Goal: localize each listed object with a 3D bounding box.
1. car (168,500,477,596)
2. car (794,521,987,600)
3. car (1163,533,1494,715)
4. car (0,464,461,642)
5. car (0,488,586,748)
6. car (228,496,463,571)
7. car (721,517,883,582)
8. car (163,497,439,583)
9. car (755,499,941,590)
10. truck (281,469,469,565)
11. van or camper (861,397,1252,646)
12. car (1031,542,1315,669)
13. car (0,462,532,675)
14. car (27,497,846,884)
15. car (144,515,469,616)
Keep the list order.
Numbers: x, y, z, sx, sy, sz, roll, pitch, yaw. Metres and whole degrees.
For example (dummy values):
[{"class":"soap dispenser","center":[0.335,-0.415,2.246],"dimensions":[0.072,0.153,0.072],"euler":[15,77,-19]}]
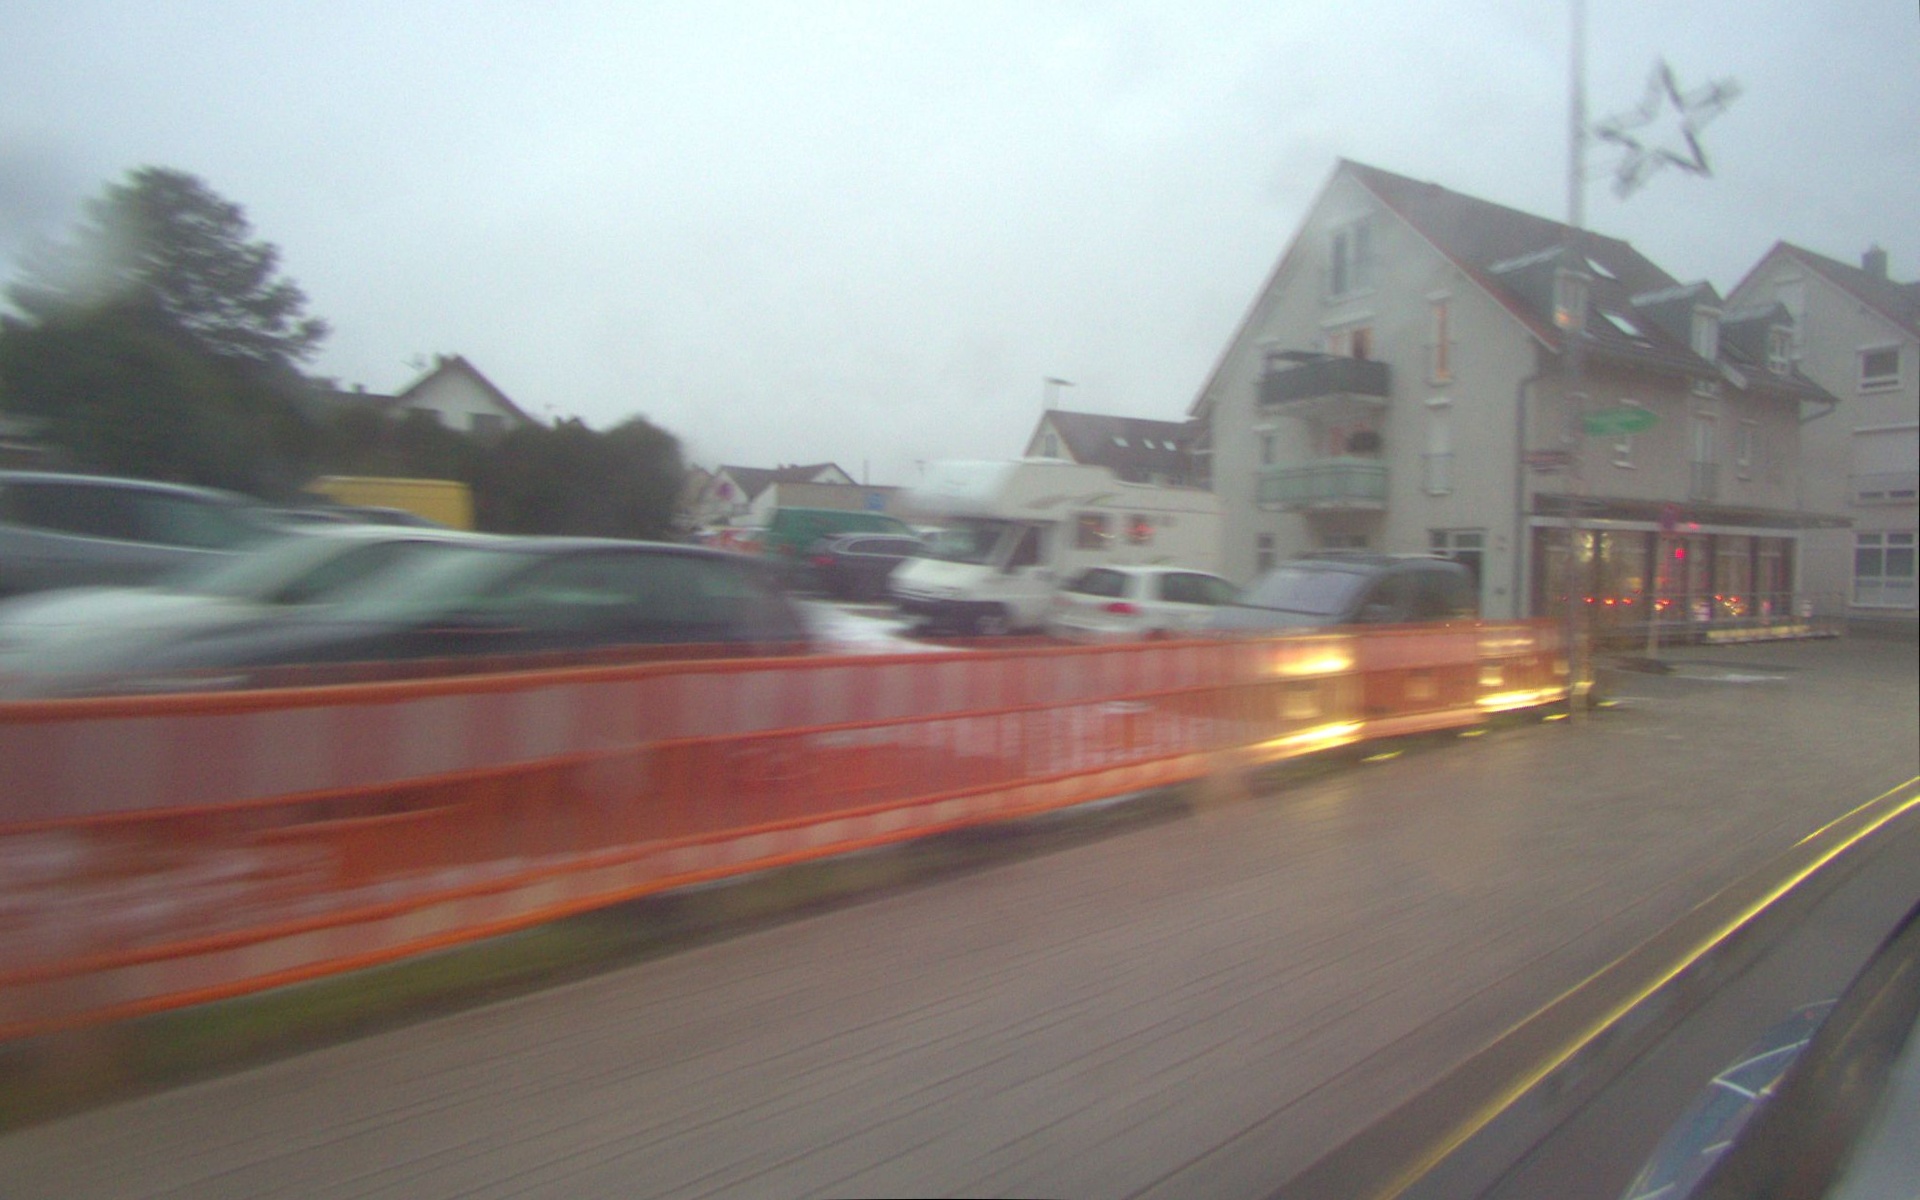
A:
[{"class":"car","center":[-10.497,-0.851,16.959],"dimensions":[4.157,1.342,1.790],"euler":[1,5,-31]},{"class":"car","center":[-1.572,-0.890,23.003],"dimensions":[3.918,1.528,1.804],"euler":[2,4,-28]},{"class":"car","center":[4.554,0.216,12.241],"dimensions":[4.166,1.845,1.786],"euler":[1,2,-38]},{"class":"car","center":[-8.180,-0.477,11.660],"dimensions":[4.157,1.642,1.789],"euler":[3,2,-31]},{"class":"car","center":[-4.892,0.075,7.429],"dimensions":[1.662,1.452,3.626],"euler":[6,2,41]},{"class":"car","center":[-13.147,-1.425,21.876],"dimensions":[4.157,1.342,1.790],"euler":[1,5,-31]},{"class":"car","center":[-4.297,-1.374,27.581],"dimensions":[3.918,1.528,1.804],"euler":[2,4,-28]},{"class":"car","center":[-12.229,-1.117,19.068],"dimensions":[4.157,1.342,1.790],"euler":[1,5,-31]},{"class":"car","center":[-2.771,-1.367,25.144],"dimensions":[4.157,1.996,1.791],"euler":[2,4,-28]},{"class":"truck","center":[-15.451,-2.191,26.989],"dimensions":[4.154,2.210,1.791],"euler":[2,4,-25]},{"class":"van or camper","center":[1.922,-1.198,17.663],"dimensions":[6.997,3.551,2.438],"euler":[0,4,-40]},{"class":"car","center":[3.236,0.047,15.020],"dimensions":[4.166,1.560,1.787],"euler":[1,5,-38]},{"class":"car","center":[-6.746,-0.254,9.257],"dimensions":[4.839,1.612,1.785],"euler":[3,2,-41]},{"class":"car","center":[-2.654,0.319,5.742],"dimensions":[1.780,1.424,3.697],"euler":[6,2,41]},{"class":"car","center":[-9.258,-0.481,14.636],"dimensions":[3.735,1.253,1.732],"euler":[1,4,-31]}]
